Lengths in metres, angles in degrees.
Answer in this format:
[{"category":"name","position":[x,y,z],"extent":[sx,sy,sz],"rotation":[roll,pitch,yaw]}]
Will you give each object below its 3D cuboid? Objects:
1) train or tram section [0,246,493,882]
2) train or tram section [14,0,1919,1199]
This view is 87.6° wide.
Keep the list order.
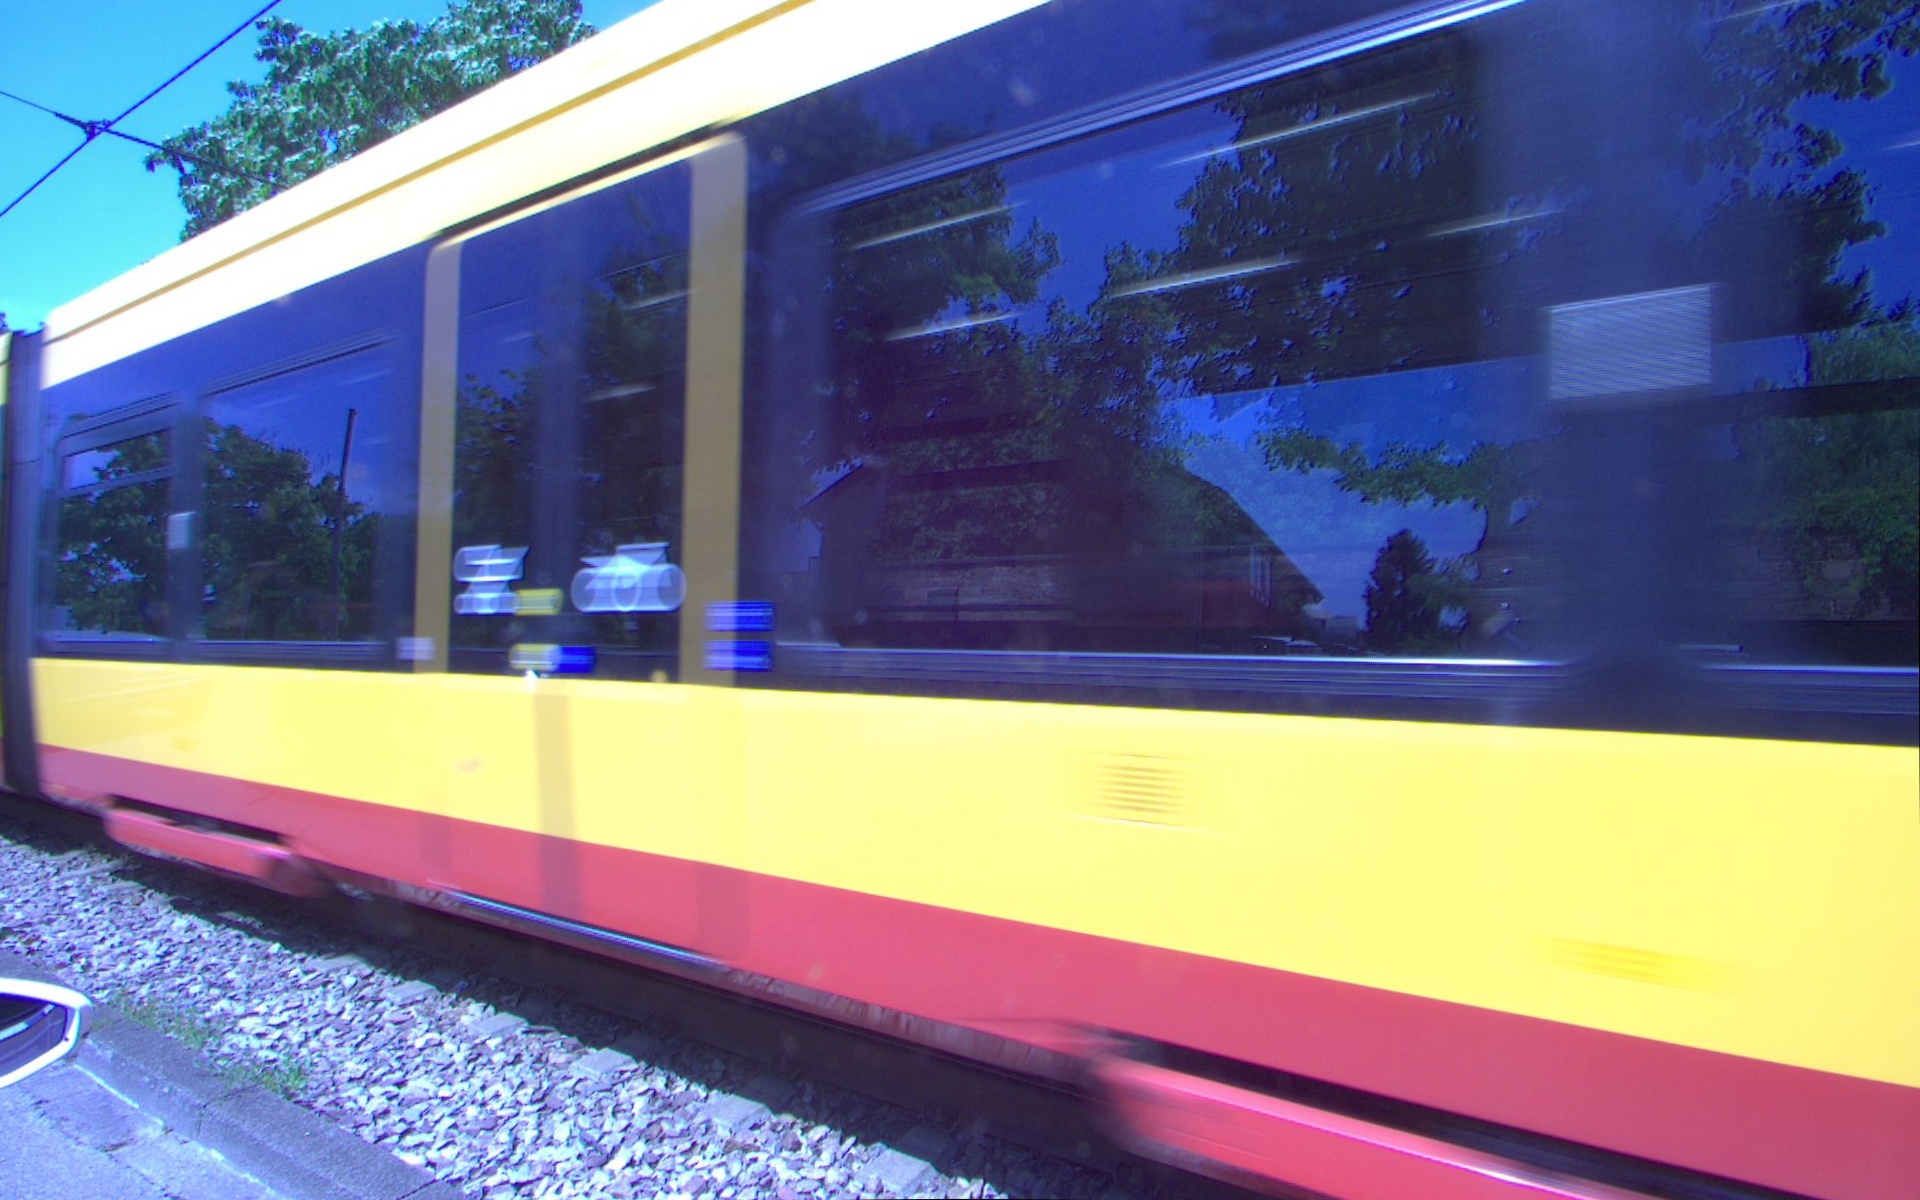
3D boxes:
[{"category":"train or tram section","position":[-9.051,-0.105,9.854],"extent":[10.795,3.655,2.736],"rotation":[-1,-2,33]},{"category":"train or tram section","position":[-0.346,-0.383,4.191],"extent":[10.795,3.655,2.736],"rotation":[-1,-2,33]}]
